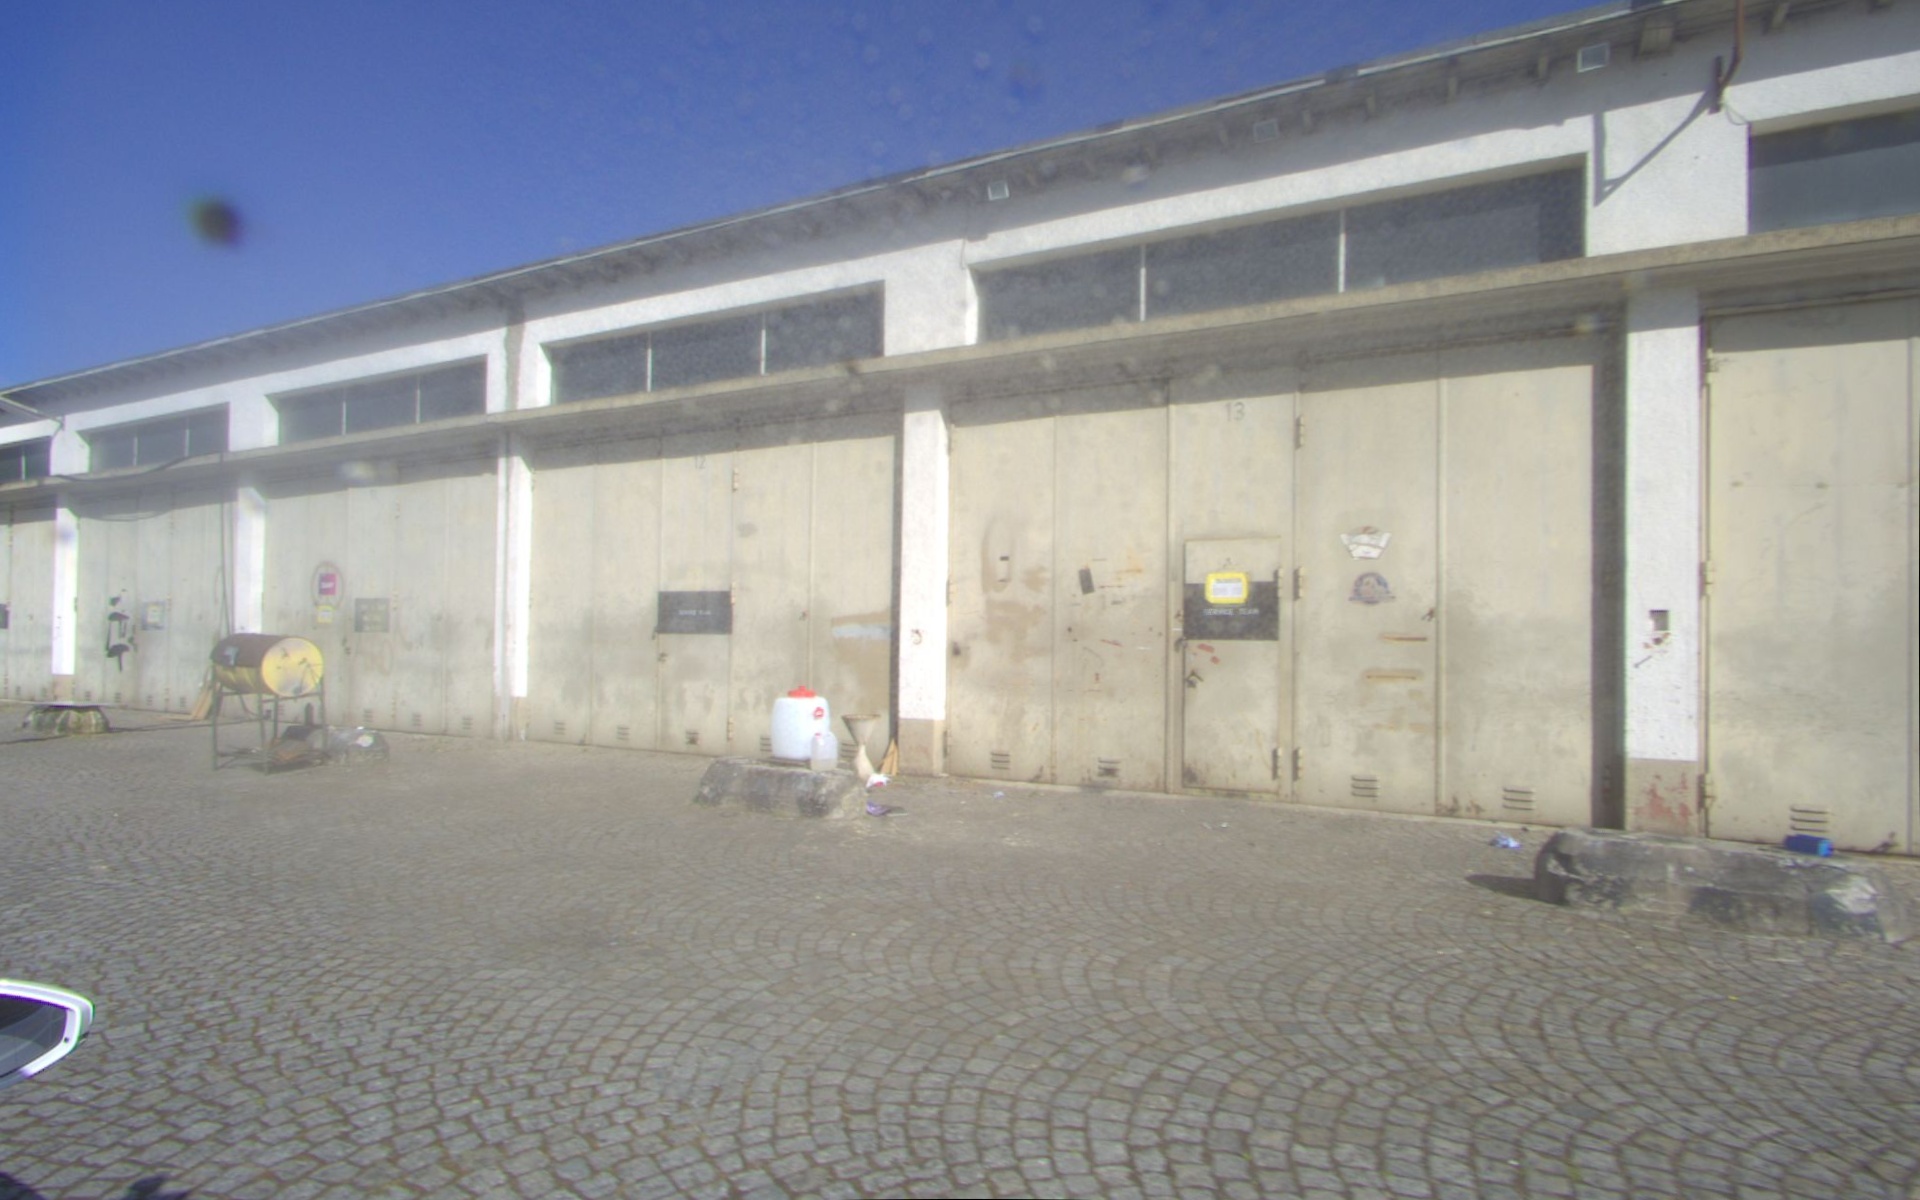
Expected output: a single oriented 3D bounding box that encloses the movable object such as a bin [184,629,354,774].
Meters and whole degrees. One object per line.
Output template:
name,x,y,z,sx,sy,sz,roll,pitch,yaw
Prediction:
movable object such as a bin,-6.912,0.982,10.033,1.259,1.348,0.824,0,-2,23
